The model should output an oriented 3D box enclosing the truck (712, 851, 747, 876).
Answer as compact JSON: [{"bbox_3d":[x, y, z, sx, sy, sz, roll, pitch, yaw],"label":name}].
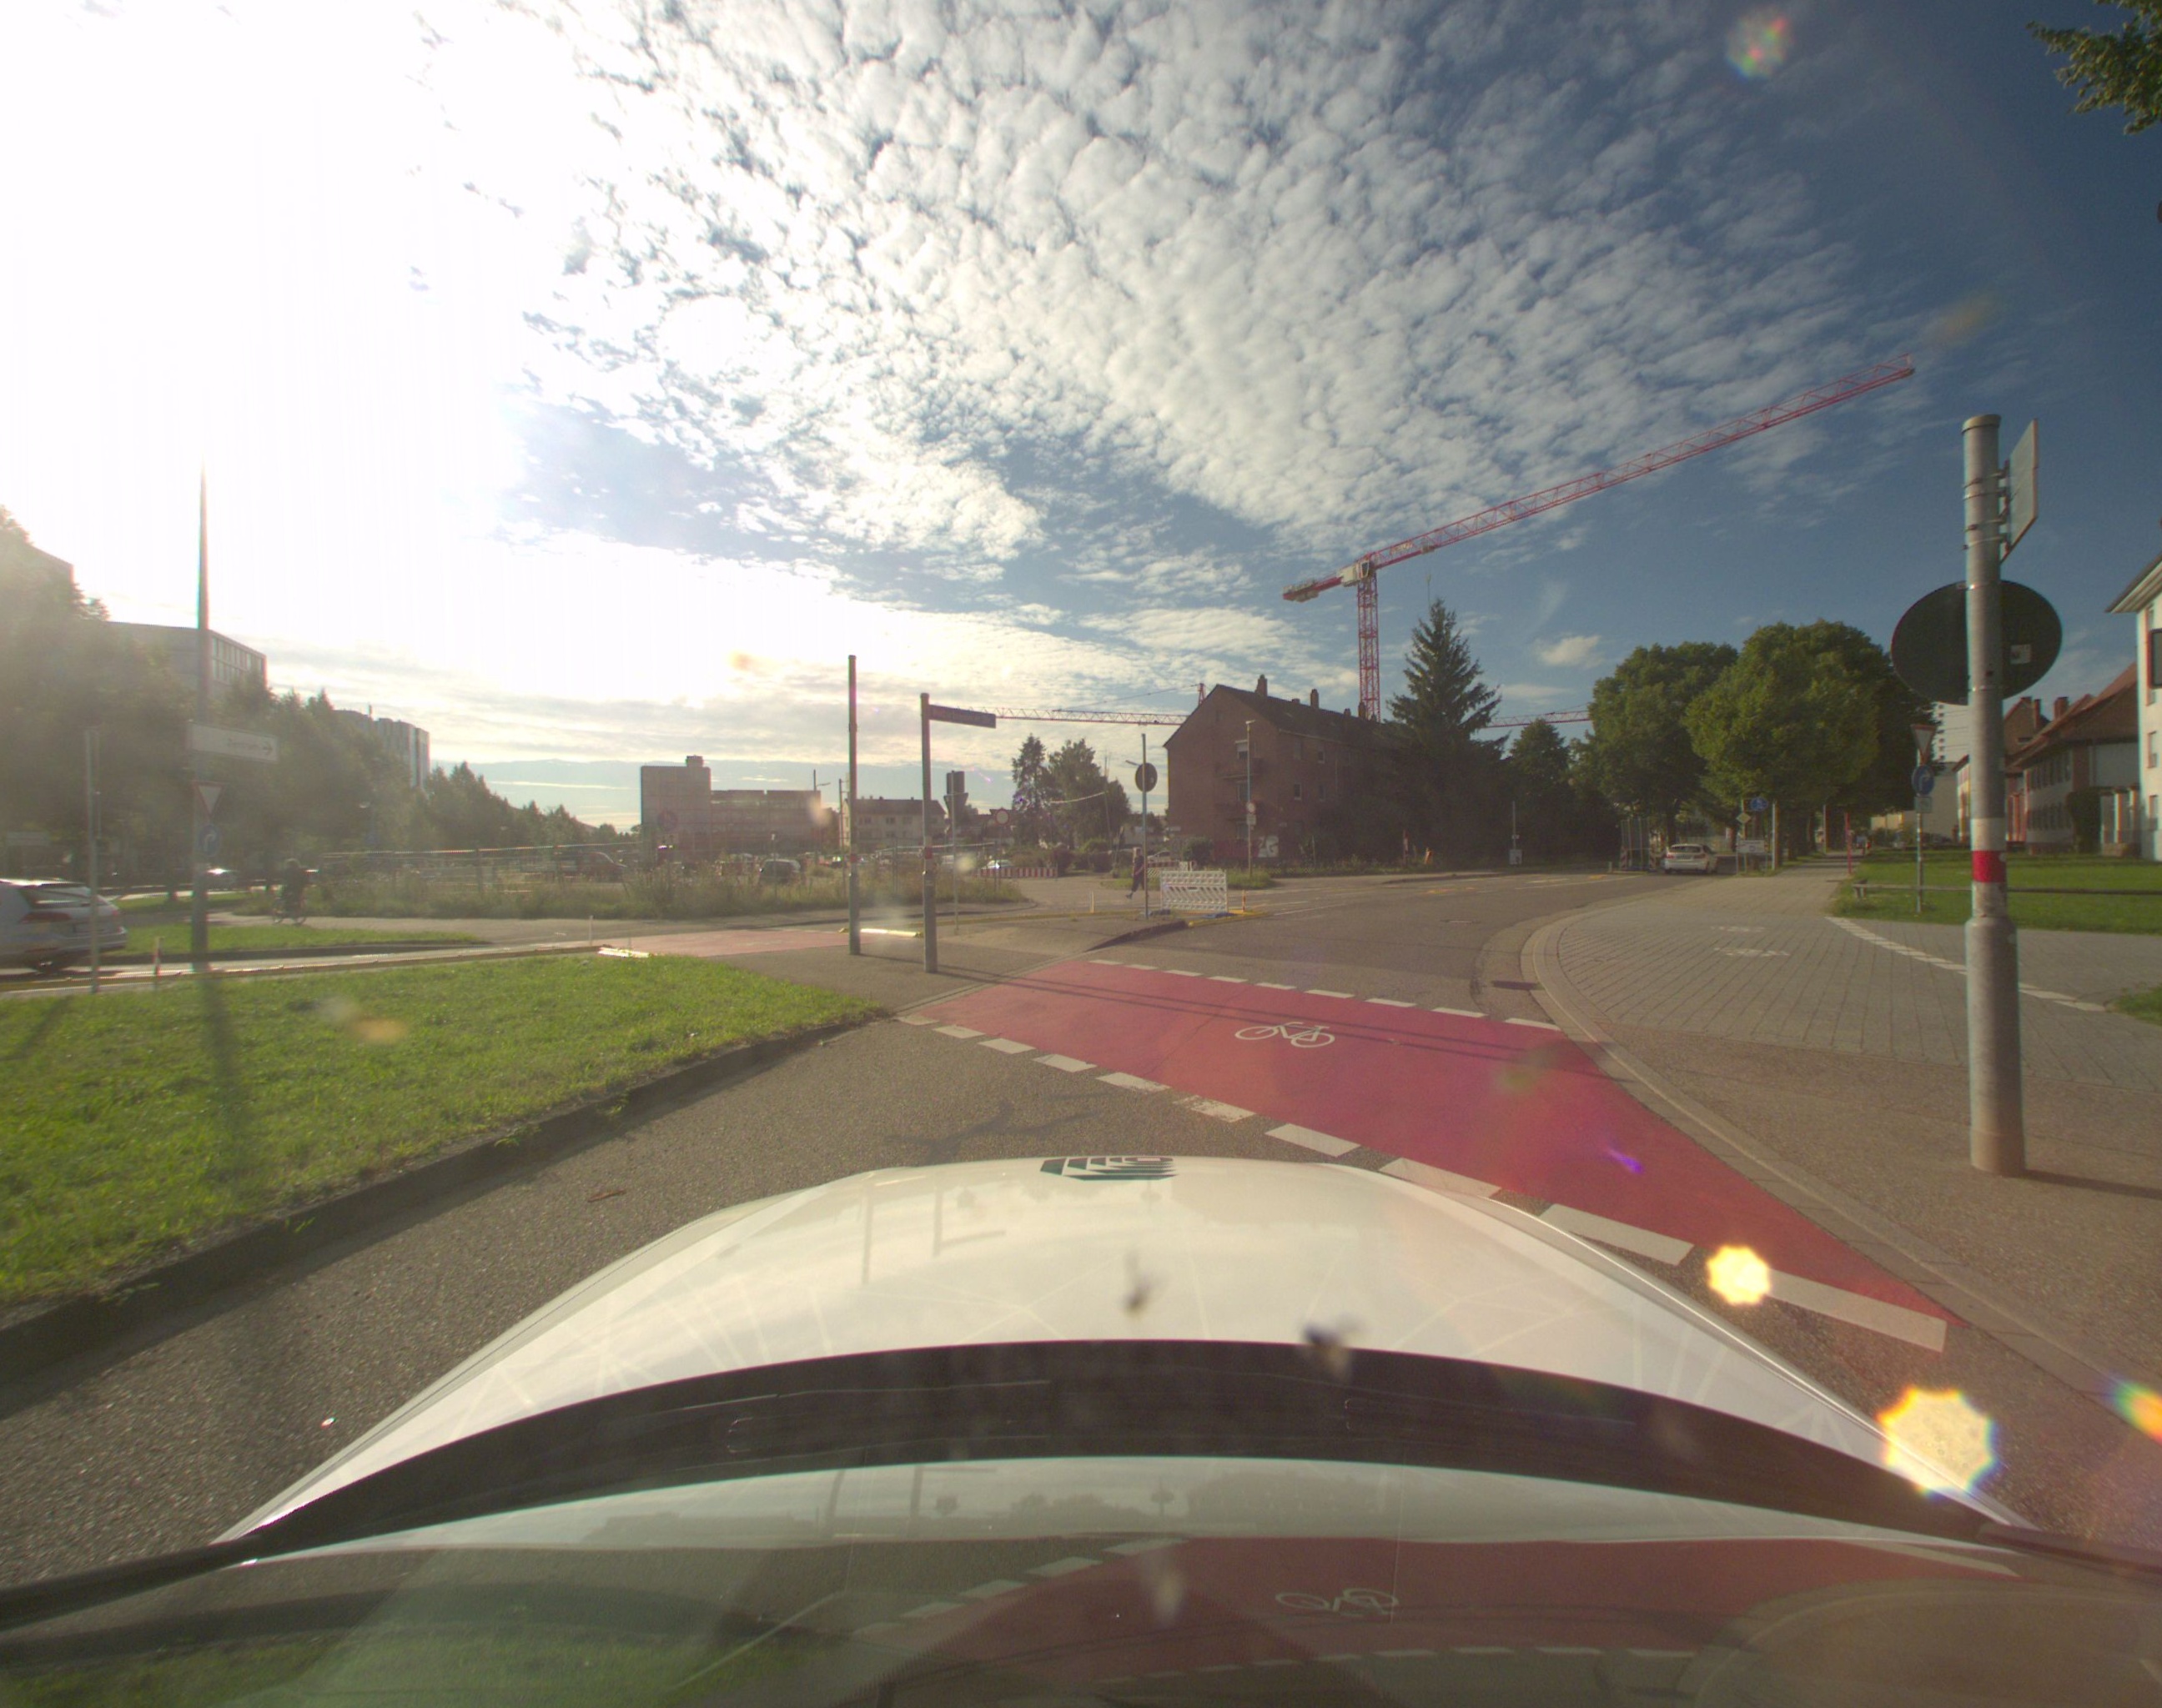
[{"bbox_3d":[-34.468,0.912,79.718,2.342,2.328,6.390,-1,0,-30],"label":"truck"}]

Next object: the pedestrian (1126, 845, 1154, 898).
[{"bbox_3d":[2.095,0.615,28.985,0.661,1.871,0.840,-1,0,28],"label":"pedestrian"}]

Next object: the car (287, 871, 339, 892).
[{"bbox_3d":[-65.826,2.313,69.875,1.906,1.611,4.621,-1,0,-26],"label":"car"}]

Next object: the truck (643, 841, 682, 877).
[{"bbox_3d":[-39.356,0.425,76.534,2.825,3.207,7.245,-1,0,-30],"label":"truck"}]

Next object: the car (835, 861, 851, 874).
[{"bbox_3d":[-35.735,1.950,122.187,2.001,1.860,3.972,-1,0,-21],"label":"car"}]

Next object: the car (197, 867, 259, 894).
[{"bbox_3d":[-65.646,2.020,62.767,1.906,1.903,4.619,-1,0,-27],"label":"car"}]

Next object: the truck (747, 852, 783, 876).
[{"bbox_3d":[-31.676,0.998,81.606,2.342,2.328,6.390,-1,0,-30],"label":"truck"}]

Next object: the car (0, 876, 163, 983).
[{"bbox_3d":[-16.975,1.120,11.780,4.542,1.452,1.811,-1,0,-20],"label":"car"}]

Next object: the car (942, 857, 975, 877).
[{"bbox_3d":[-11.775,1.220,78.101,1.891,1.816,3.962,-1,0,-29],"label":"car"}]

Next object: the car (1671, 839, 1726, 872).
[{"bbox_3d":[31.701,0.058,41.750,1.833,1.572,4.482,0,1,42],"label":"car"}]

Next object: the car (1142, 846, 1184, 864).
[{"bbox_3d":[7.981,0.114,79.466,3.973,1.618,1.773,-1,0,0],"label":"car"}]

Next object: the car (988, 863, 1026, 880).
[{"bbox_3d":[-6.253,1.460,68.406,1.726,1.393,3.962,-1,0,-29],"label":"car"}]

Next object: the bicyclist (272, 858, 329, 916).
[{"bbox_3d":[-21.048,0.874,21.962,0.998,1.511,0.709,-1,0,21],"label":"bicyclist"}]

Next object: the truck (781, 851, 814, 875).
[{"bbox_3d":[-28.950,0.939,83.079,2.070,2.328,5.583,-1,0,-30],"label":"truck"}]

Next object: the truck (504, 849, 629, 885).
[{"bbox_3d":[-39.319,0.977,62.615,7.878,2.567,3.047,-1,0,-28],"label":"truck"}]

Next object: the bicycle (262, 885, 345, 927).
[{"bbox_3d":[-20.916,1.397,21.895,2.179,1.063,0.708,-1,0,20],"label":"bicycle"}]

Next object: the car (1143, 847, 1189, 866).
[{"bbox_3d":[7.717,0.197,73.659,3.961,1.618,1.779,-1,0,11],"label":"car"}]

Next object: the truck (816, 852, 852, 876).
[{"bbox_3d":[-25.636,1.033,84.401,2.300,2.328,5.583,-1,0,-30],"label":"truck"}]

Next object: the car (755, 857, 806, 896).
[{"bbox_3d":[-15.001,1.099,40.888,1.881,1.816,3.982,-1,0,-13],"label":"car"}]

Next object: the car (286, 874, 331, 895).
[{"bbox_3d":[-66.253,2.610,69.932,1.909,1.611,4.614,-1,0,-32],"label":"car"}]
